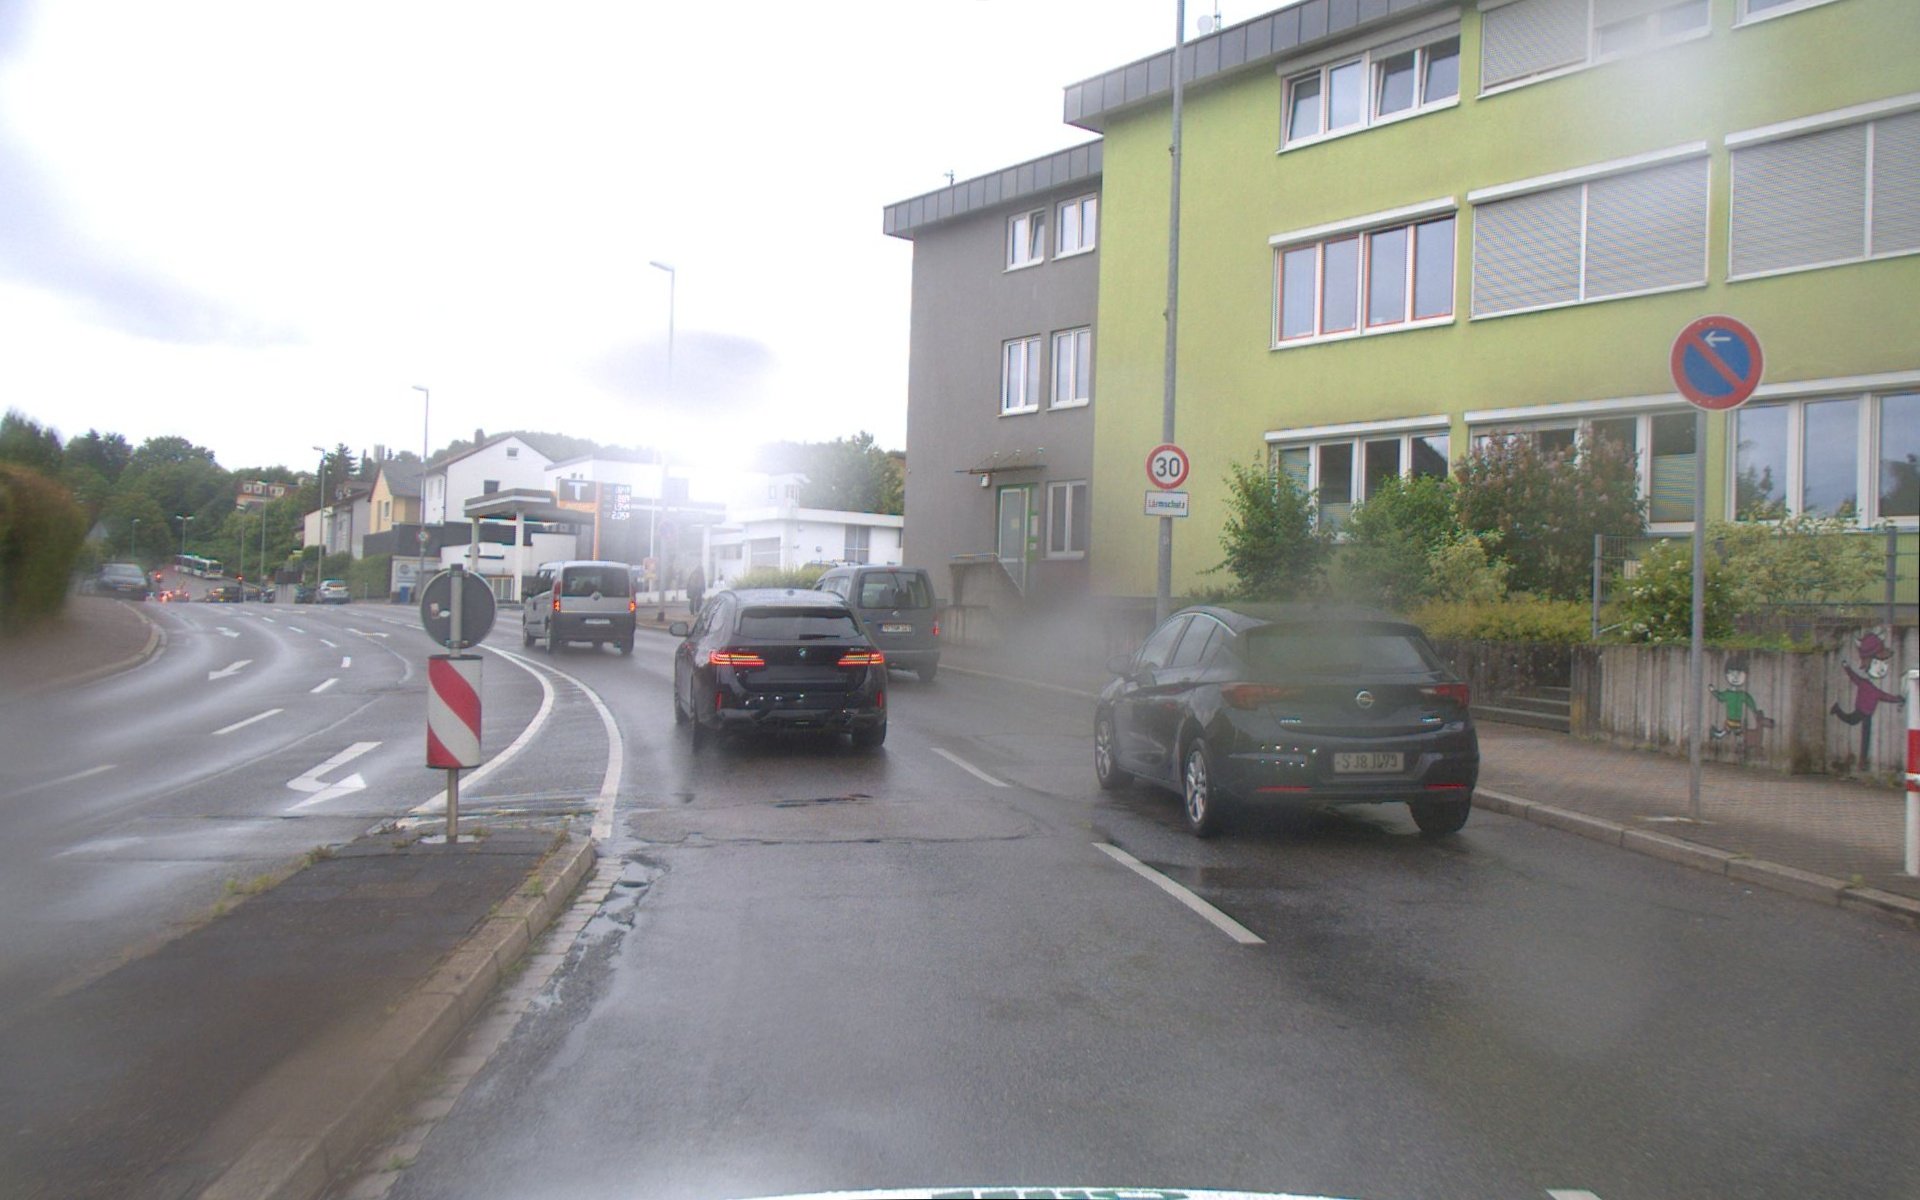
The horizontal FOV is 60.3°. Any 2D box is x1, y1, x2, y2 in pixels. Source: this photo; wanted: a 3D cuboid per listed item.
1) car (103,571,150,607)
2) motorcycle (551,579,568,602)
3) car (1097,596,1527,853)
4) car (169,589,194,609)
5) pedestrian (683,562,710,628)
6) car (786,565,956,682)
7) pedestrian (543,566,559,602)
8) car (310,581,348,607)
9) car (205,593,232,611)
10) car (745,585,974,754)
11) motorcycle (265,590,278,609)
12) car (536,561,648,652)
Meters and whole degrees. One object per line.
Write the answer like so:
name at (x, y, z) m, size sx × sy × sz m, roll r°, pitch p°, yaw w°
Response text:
car at (-36.249, -0.452, 71.887) m, size 1.730 × 1.465 × 4.091 m, roll 1°, pitch -1°, yaw -28°
motorcycle at (-19.318, -0.473, 79.730) m, size 0.457 × 1.074 × 1.377 m, roll 1°, pitch -2°, yaw -28°
car at (2.243, 0.730, 11.670) m, size 1.723 × 1.475 × 3.993 m, roll 1°, pitch 0°, yaw -8°
car at (-70.687, -0.085, 150.215) m, size 1.968 × 1.771 × 3.968 m, roll 1°, pitch -1°, yaw -25°
pedestrian at (-8.365, -0.147, 52.520) m, size 0.705 × 2.049 × 0.611 m, roll 1°, pitch -2°, yaw -20°
car at (-1.572, 0.414, 27.693) m, size 1.811 × 1.798 × 3.977 m, roll 1°, pitch -1°, yaw -19°
pedestrian at (-19.726, -0.767, 79.716) m, size 0.603 × 1.685 × 0.580 m, roll 2°, pitch -2°, yaw -29°
car at (-40.959, -0.377, 107.373) m, size 1.682 × 1.536 × 4.490 m, roll 1°, pitch -1°, yaw -29°
car at (-75.014, 0.215, 167.253) m, size 1.974 × 1.771 × 3.955 m, roll 2°, pitch -1°, yaw -32°
car at (-1.149, 0.671, 16.891) m, size 1.957 × 1.510 × 3.991 m, roll 1°, pitch -1°, yaw -9°
motorcycle at (-57.570, -0.052, 138.295) m, size 0.695 × 1.536 × 2.130 m, roll -1°, pitch 0°, yaw -28°
car at (-7.822, 0.171, 34.929) m, size 1.962 × 1.768 × 3.980 m, roll 1°, pitch -1°, yaw -17°
